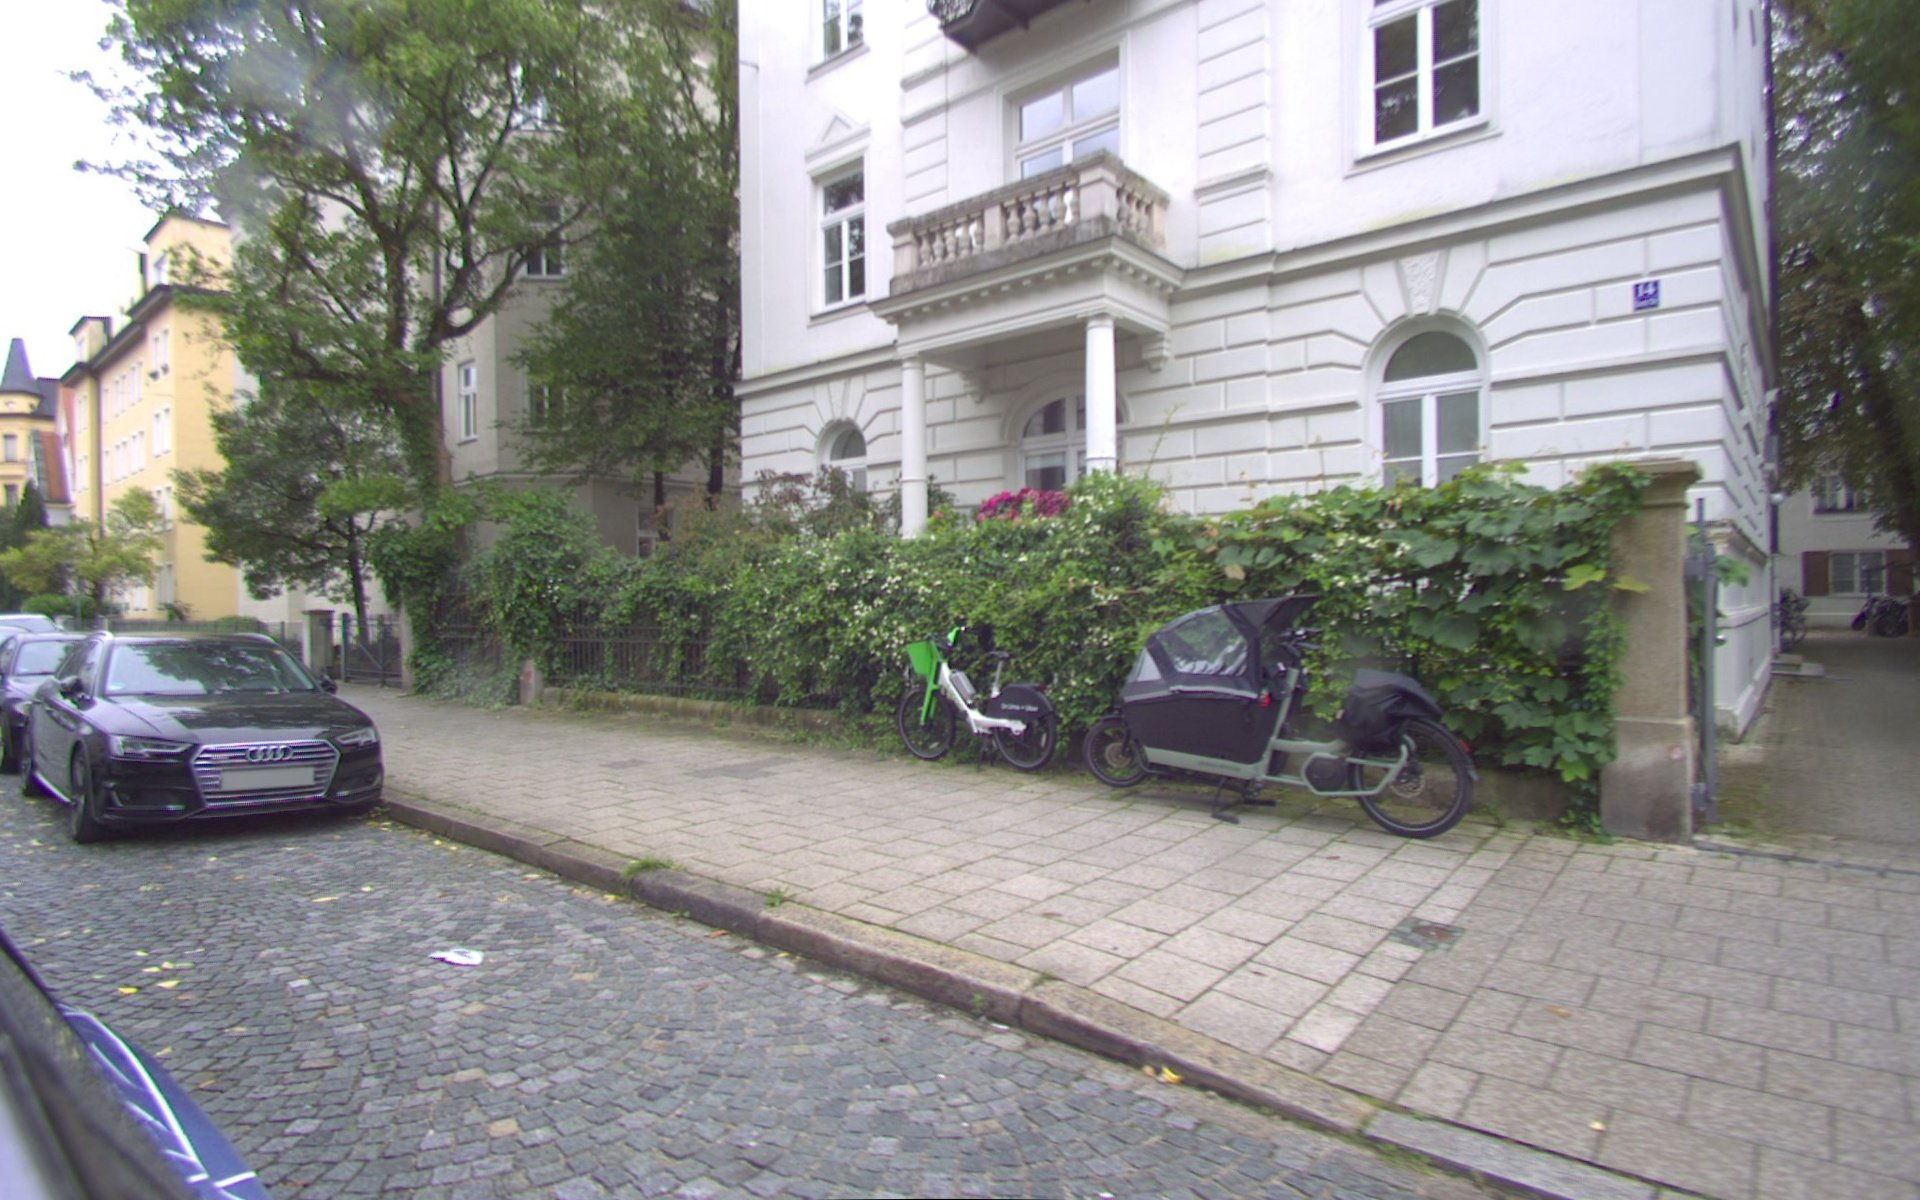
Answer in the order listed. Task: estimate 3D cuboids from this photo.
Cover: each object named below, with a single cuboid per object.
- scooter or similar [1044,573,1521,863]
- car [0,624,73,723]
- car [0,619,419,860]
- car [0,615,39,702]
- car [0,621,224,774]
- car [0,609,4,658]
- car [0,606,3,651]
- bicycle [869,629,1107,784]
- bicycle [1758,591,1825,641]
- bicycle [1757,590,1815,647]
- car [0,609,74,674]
[{"bbox_3d":[1.901,0.613,6.319,2.654,1.452,0.932,-1,1,40],"label":"scooter or similar"},{"bbox_3d":[-15.692,1.114,16.090,4.165,1.455,1.646,-1,-2,38],"label":"car"},{"bbox_3d":[-6.263,0.921,8.212,4.405,1.428,1.867,-2,-4,42],"label":"car"},{"bbox_3d":[-19.507,1.093,19.609,5.016,1.573,1.957,-2,-2,42],"label":"car"},{"bbox_3d":[-10.161,0.996,11.544,4.493,1.428,1.765,-2,-4,40],"label":"car"},{"bbox_3d":[-41.464,1.440,41.962,5.326,1.945,1.974,-1,1,40],"label":"car"},{"bbox_3d":[-23.504,1.084,22.952,5.173,1.932,1.973,-1,-4,40],"label":"car"},{"bbox_3d":[0.185,0.820,8.407,2.049,1.131,0.571,-1,-1,40],"label":"bicycle"},{"bbox_3d":[21.126,0.386,25.762,0.933,1.214,2.466,-1,0,31],"label":"bicycle"},{"bbox_3d":[18.951,0.403,23.179,0.936,1.214,2.910,-1,0,41],"label":"bicycle"},{"bbox_3d":[-28.977,1.255,31.050,4.654,1.747,1.926,-1,2,40],"label":"car"}]
